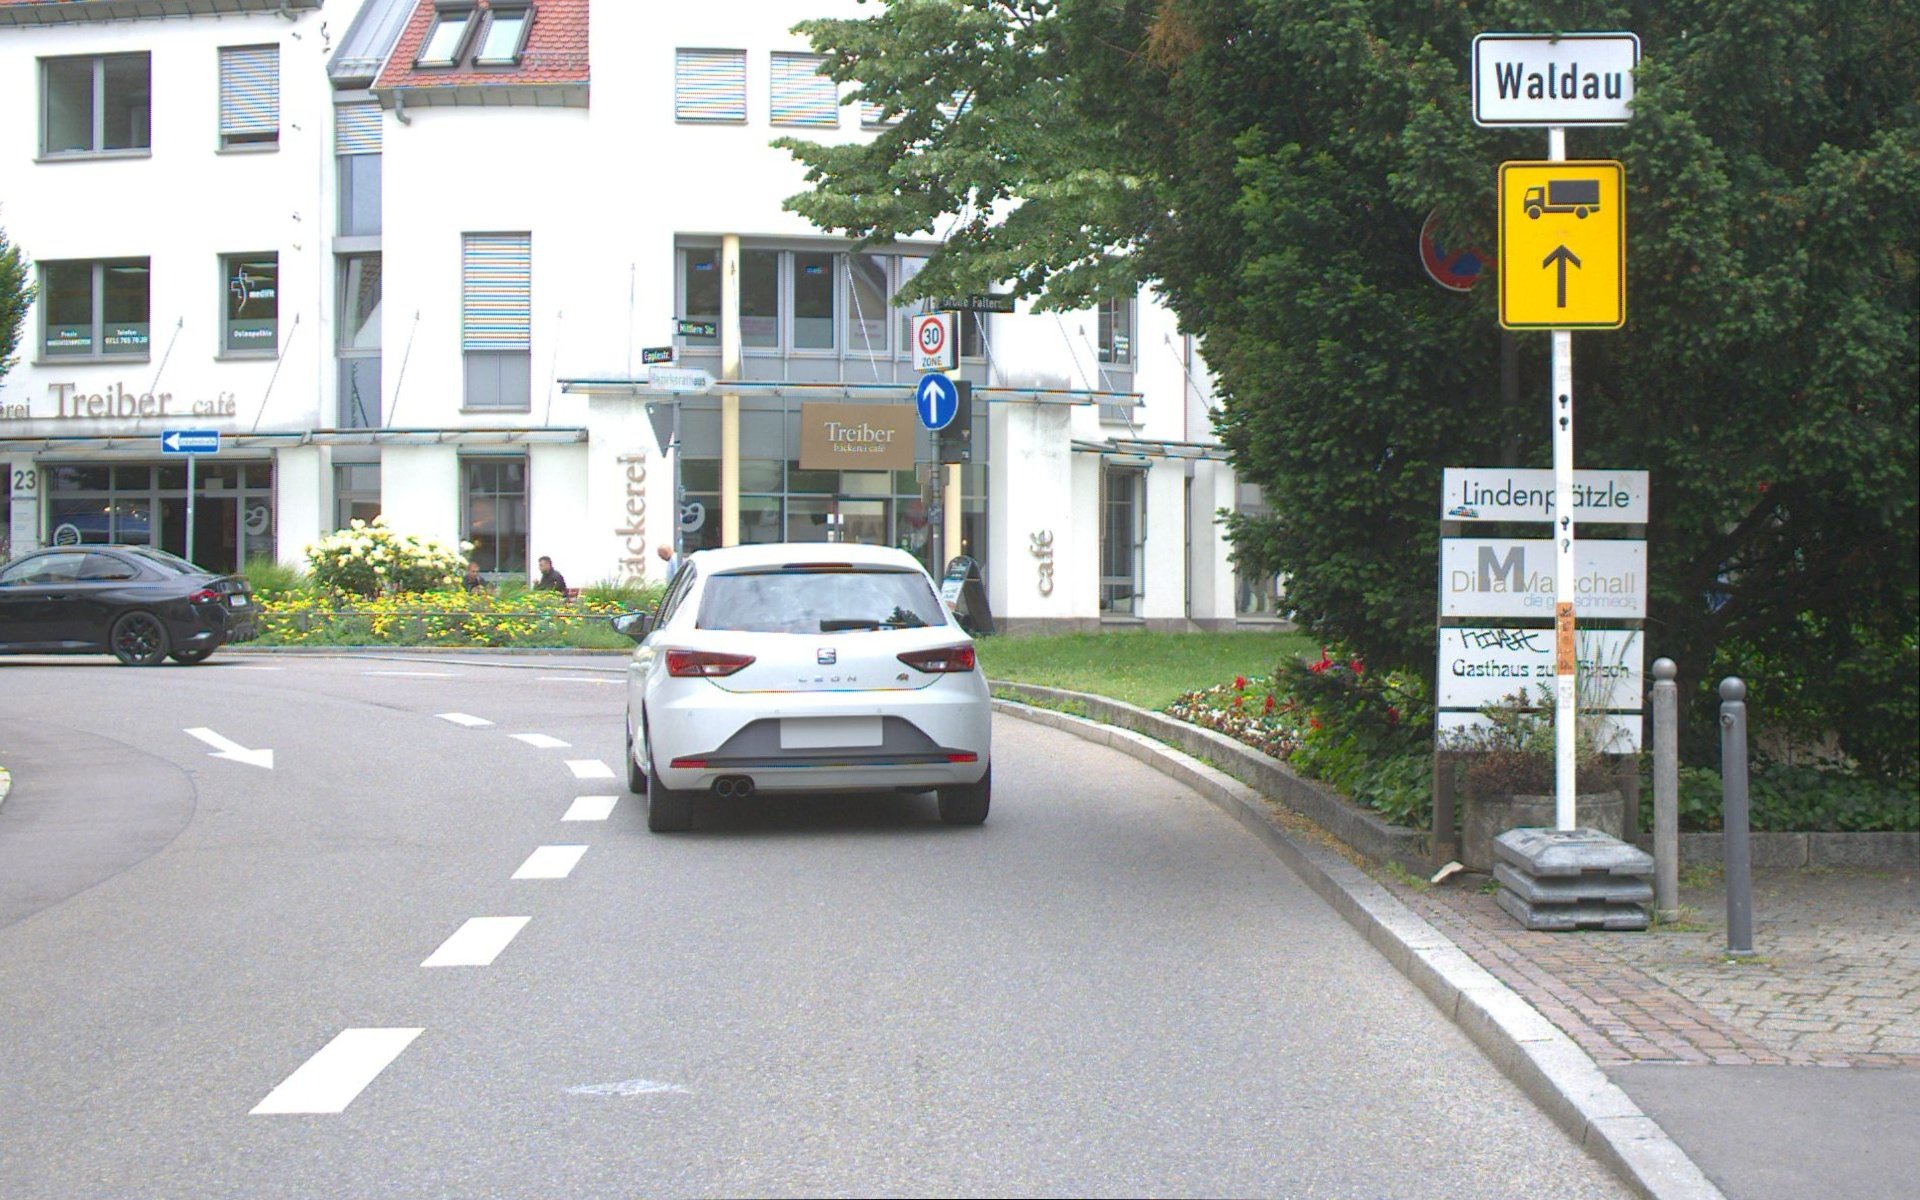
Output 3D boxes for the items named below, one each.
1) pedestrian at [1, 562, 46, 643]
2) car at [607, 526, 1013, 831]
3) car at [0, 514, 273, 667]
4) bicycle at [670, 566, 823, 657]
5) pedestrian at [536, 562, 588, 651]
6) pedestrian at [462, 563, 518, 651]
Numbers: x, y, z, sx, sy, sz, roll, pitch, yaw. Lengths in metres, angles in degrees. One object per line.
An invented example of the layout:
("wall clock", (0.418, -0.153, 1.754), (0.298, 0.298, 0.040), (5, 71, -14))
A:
("pedestrian", (-14.733, 0.039, 54.108), (0.490, 1.267, 0.501), (0, 0, 17))
("car", (-0.921, 0.342, 18.599), (1.843, 1.429, 4.001), (0, 2, -7))
("car", (-10.399, -0.143, 39.829), (4.360, 1.669, 2.041), (1, 1, 5))
("bicycle", (-2.966, 0.155, 47.835), (1.975, 1.235, 0.743), (1, 1, 17))
("pedestrian", (-5.996, 0.094, 51.771), (0.655, 1.337, 0.696), (0, 0, 4))
("pedestrian", (-7.101, 0.103, 51.954), (0.700, 1.327, 0.684), (0, 0, 4))
